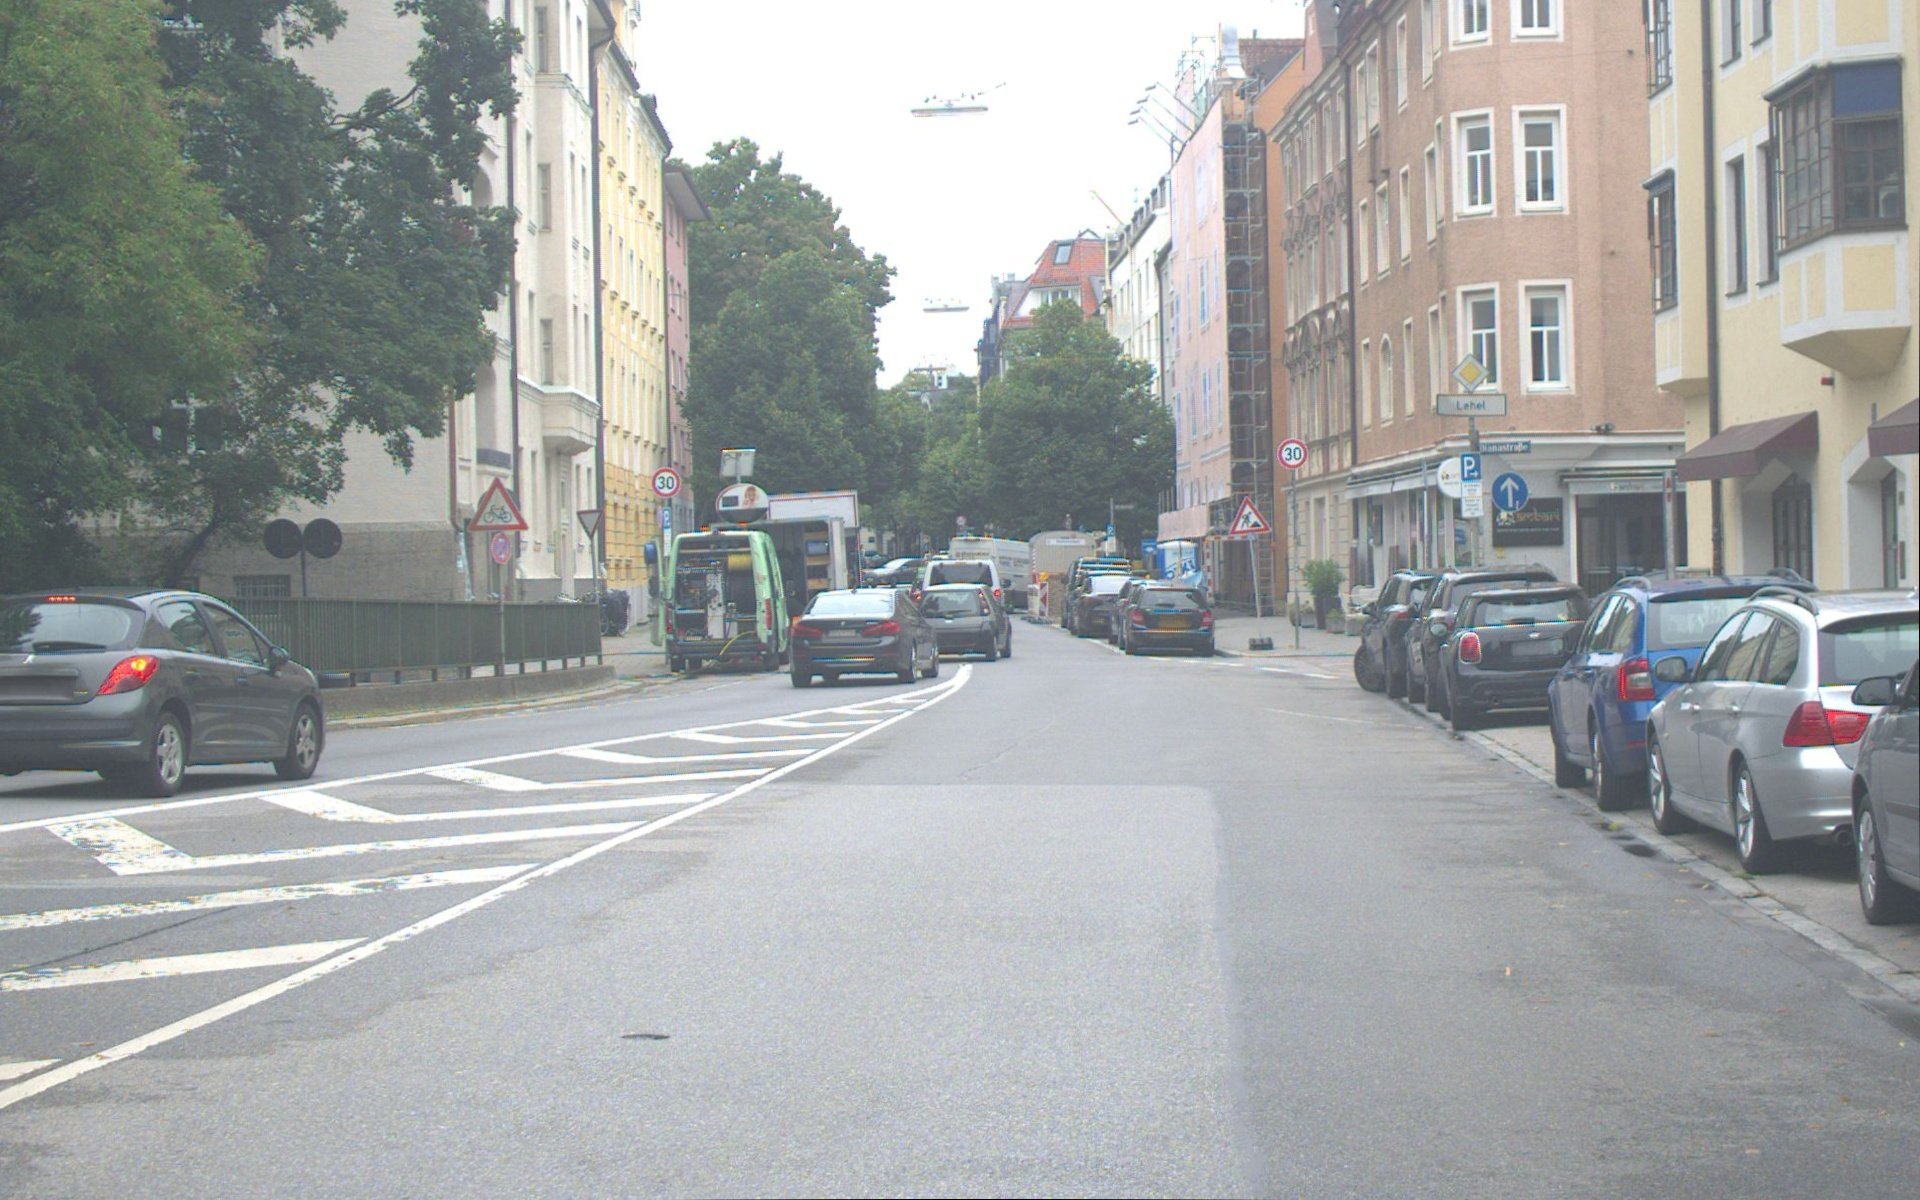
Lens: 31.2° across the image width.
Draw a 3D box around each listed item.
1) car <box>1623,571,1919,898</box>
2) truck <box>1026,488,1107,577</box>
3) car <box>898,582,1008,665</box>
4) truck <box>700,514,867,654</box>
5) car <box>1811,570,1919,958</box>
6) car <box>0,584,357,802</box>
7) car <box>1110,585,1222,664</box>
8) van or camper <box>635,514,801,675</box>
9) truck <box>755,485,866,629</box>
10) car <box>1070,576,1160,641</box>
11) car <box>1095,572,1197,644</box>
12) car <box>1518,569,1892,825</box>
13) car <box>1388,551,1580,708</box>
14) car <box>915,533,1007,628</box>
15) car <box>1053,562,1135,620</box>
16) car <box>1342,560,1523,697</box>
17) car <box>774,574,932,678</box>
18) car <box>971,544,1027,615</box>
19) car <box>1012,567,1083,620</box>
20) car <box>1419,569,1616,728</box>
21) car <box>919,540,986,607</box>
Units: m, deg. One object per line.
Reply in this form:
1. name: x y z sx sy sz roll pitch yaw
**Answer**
1. car: 4.725 0.618 18.446 1.690 1.491 4.433 -2 0 4
2. truck: 3.601 -2.280 117.590 2.491 2.963 5.328 -1 0 -1
3. car: -0.125 0.422 65.283 1.990 1.424 4.140 -1 1 0
4. truck: -3.772 -0.414 74.984 2.773 2.863 7.201 -1 1 4
5. car: 4.515 0.610 13.380 1.628 1.491 3.786 -2 0 4
6. car: -5.949 0.630 25.426 1.759 1.456 4.073 -1 0 8
7. car: 4.117 0.472 69.158 1.844 1.424 4.184 2 1 -2
8. van or camper: -4.464 -0.167 64.480 2.600 2.830 6.186 -1 1 0
9. truck: -4.207 -1.198 97.993 3.012 3.938 6.996 -1 0 -2
10. car: 3.753 0.189 83.815 1.844 1.424 4.307 2 1 -2
11. car: 4.030 0.147 75.185 1.844 1.424 4.141 2 1 -2
12. car: 4.901 0.582 23.186 1.757 1.491 4.487 -2 0 4
13. car: 6.136 0.318 40.721 1.757 1.673 4.706 -2 0 3
14. car: 0.030 -0.477 78.342 1.990 2.068 4.140 -1 1 0
15. car: 3.547 -0.250 91.585 1.990 1.424 4.140 -1 1 0
16. car: 6.282 0.355 46.121 1.818 1.673 4.510 -2 0 1
17. car: -1.595 0.368 53.097 1.990 1.424 4.905 -1 1 3
18. car: 1.431 -0.735 123.355 1.939 2.472 4.782 -1 0 1
19. car: 2.562 -0.211 101.335 1.990 1.424 4.140 -1 1 0
20. car: 5.722 0.460 35.646 1.757 1.491 3.822 -2 0 6
21. car: -0.252 -0.843 107.591 1.993 2.007 4.000 -1 0 -1
